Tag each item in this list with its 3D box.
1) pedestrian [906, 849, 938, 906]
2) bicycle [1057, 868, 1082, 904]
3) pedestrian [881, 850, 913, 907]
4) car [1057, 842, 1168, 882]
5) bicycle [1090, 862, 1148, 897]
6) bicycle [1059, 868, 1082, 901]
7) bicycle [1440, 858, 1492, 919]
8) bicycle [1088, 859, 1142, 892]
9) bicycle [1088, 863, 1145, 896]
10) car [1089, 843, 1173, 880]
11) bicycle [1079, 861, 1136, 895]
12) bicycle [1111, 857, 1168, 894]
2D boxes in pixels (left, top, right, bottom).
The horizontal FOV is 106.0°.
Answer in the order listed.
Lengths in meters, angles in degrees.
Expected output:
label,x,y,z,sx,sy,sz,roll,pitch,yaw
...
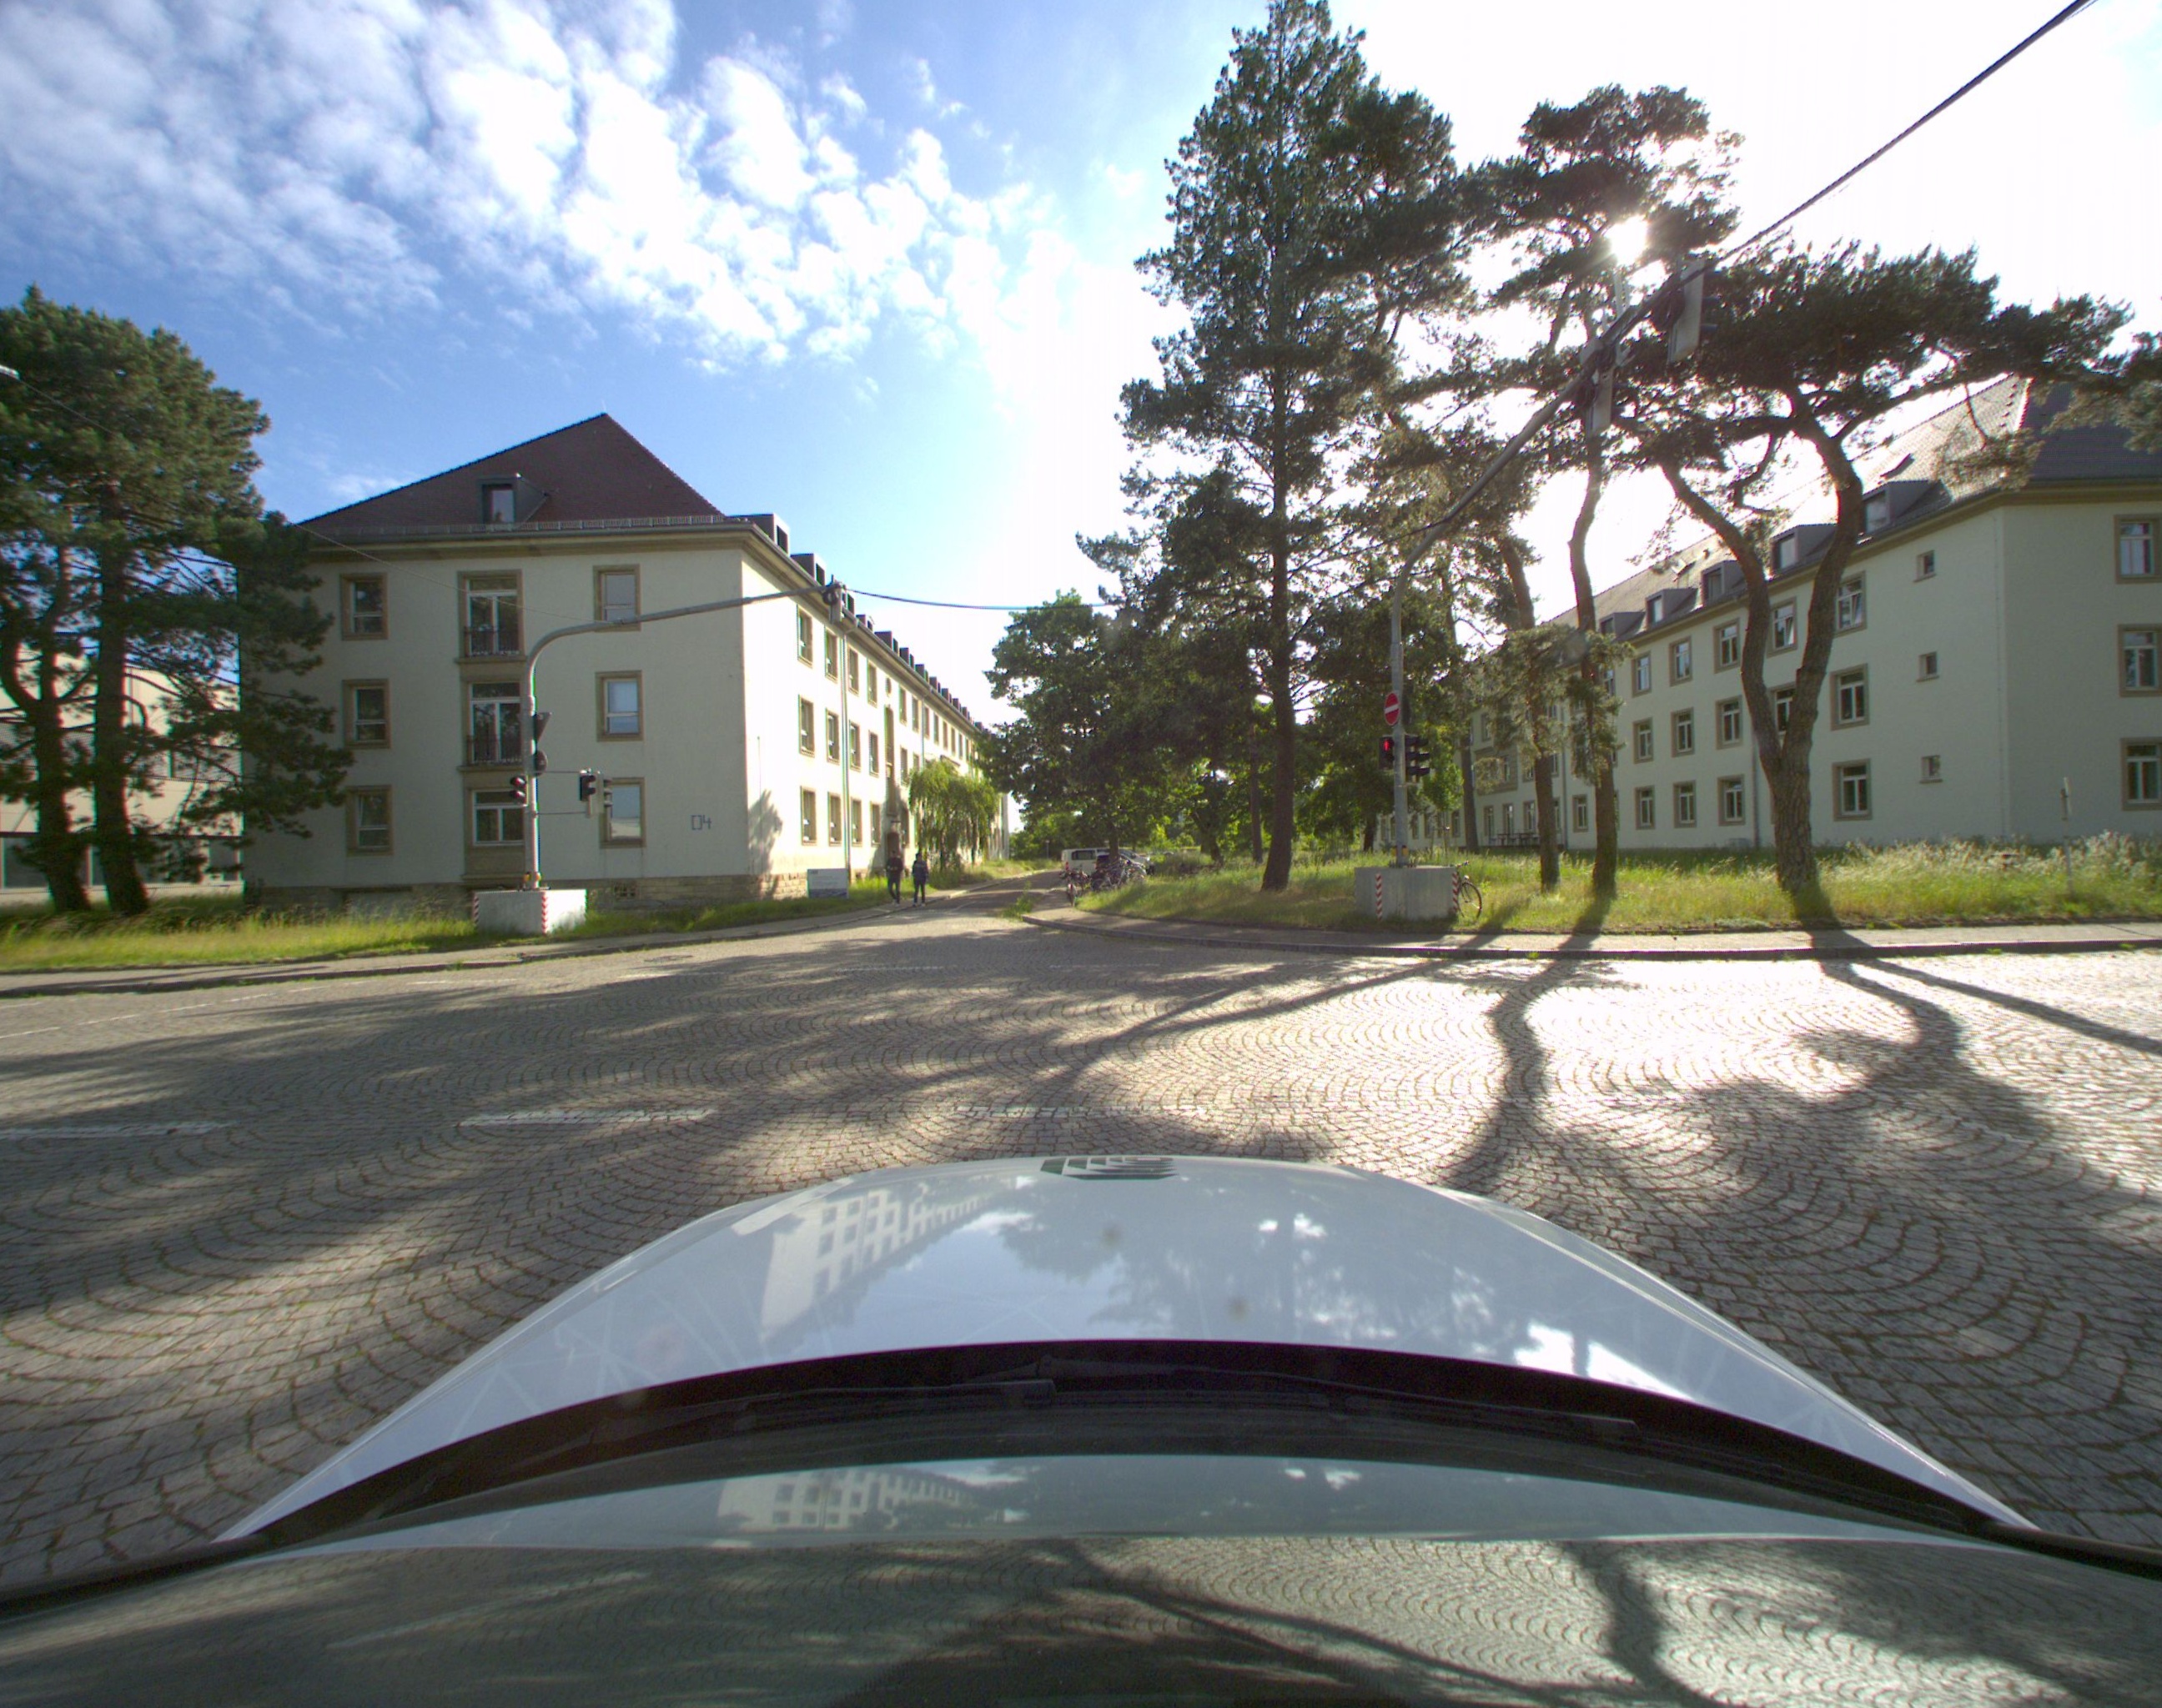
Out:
label,x,y,z,sx,sy,sz,roll,pitch,yaw
pedestrian,-5.190,0.764,26.619,0.762,1.817,0.685,-2,0,13
bicycle,-0.331,0.928,23.852,0.693,0.971,1.860,-1,0,0
pedestrian,-6.027,0.796,26.632,0.806,1.817,0.557,-2,0,12
car,1.687,0.449,45.383,5.921,2.013,2.471,-2,0,-5
bicycle,1.296,0.886,28.095,1.935,1.129,0.749,-2,0,-1
bicycle,-0.317,0.946,25.804,0.693,0.971,1.860,-1,0,0
bicycle,7.063,0.612,14.990,0.463,1.080,1.175,-2,-1,6
bicycle,1.246,0.796,30.409,1.936,1.129,0.647,-2,0,-4
bicycle,1.193,0.846,27.297,1.849,1.031,0.749,-2,0,-1
car,2.480,0.371,41.025,3.982,1.684,1.843,-2,0,-6
bicycle,0.957,0.849,29.313,1.950,1.129,0.642,-2,0,-25
bicycle,2.060,0.754,28.768,1.935,1.235,0.485,-2,0,-1
